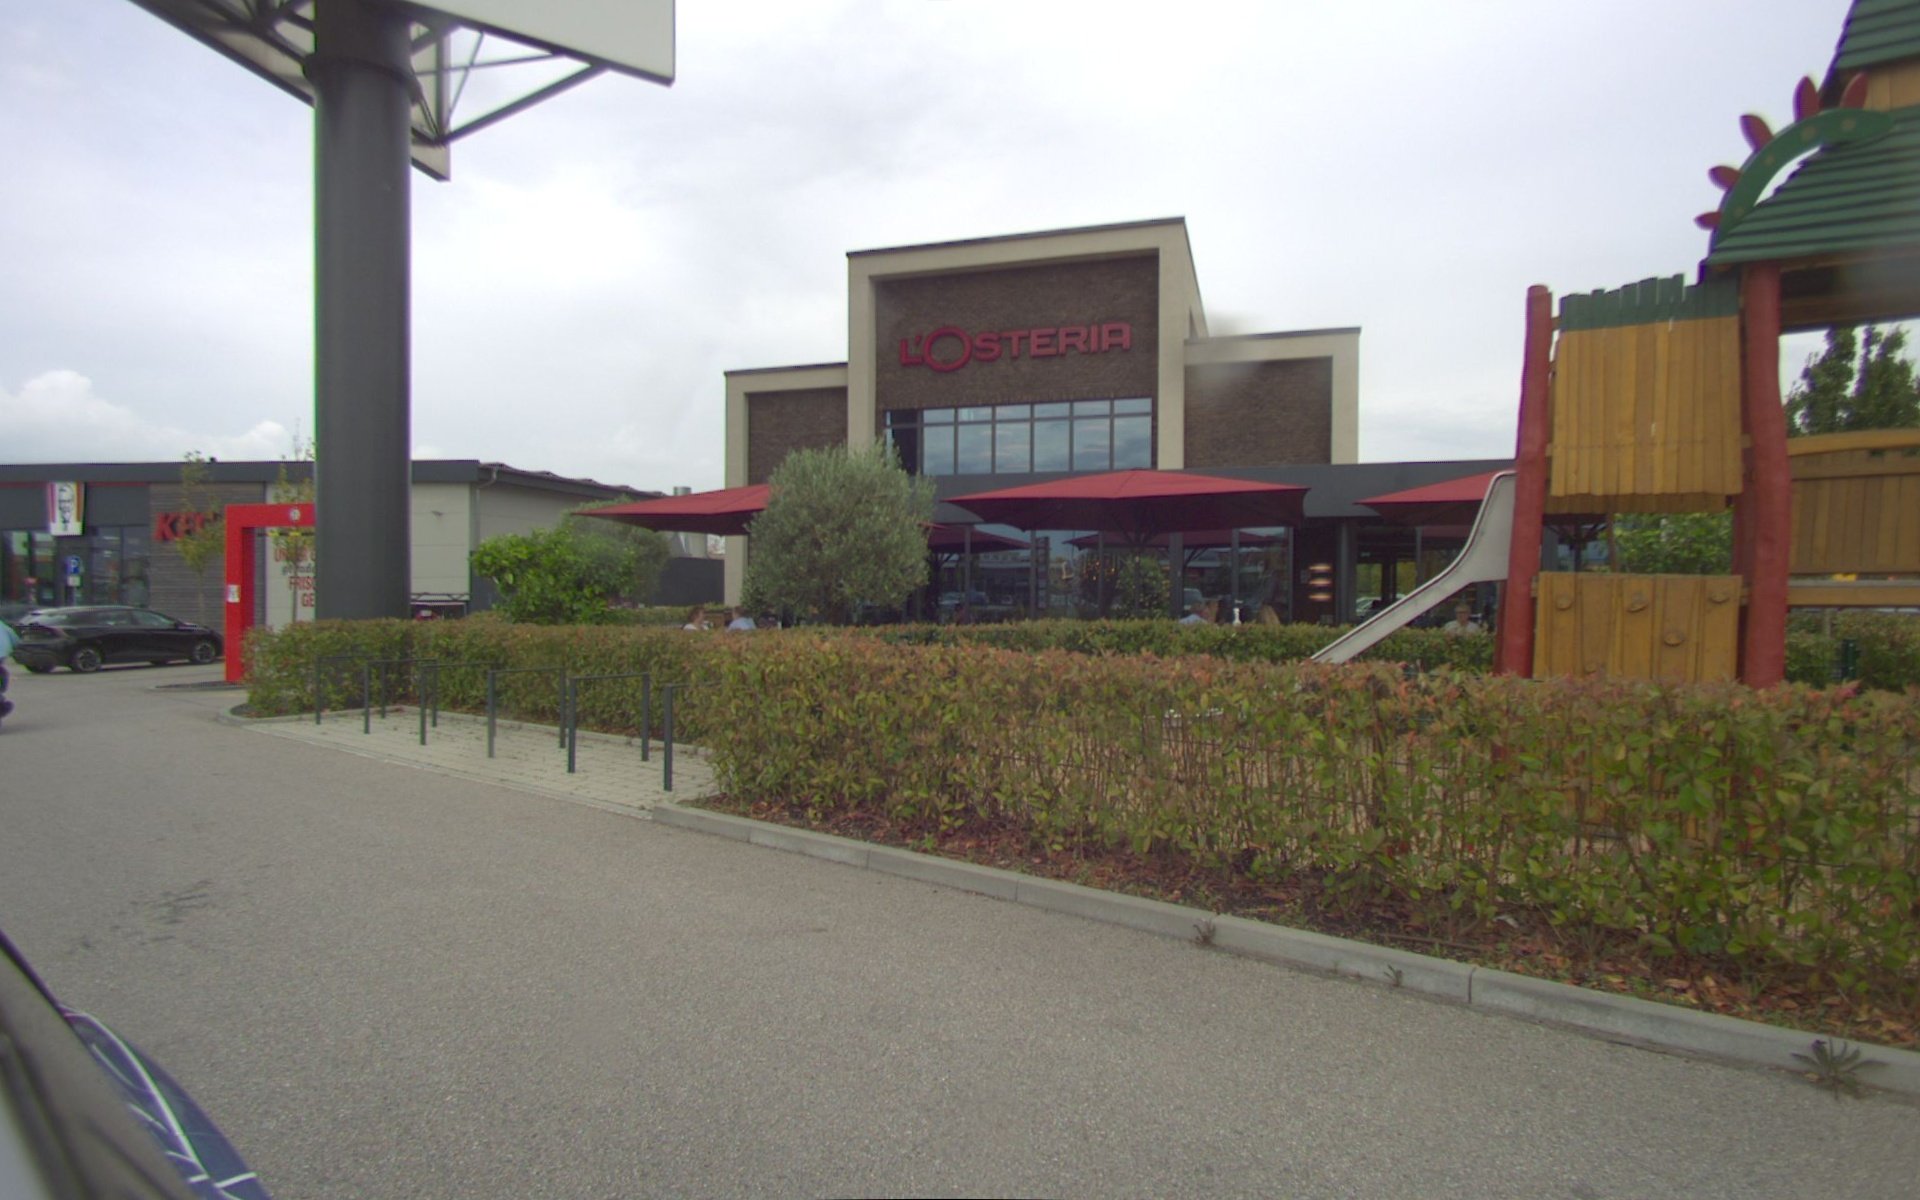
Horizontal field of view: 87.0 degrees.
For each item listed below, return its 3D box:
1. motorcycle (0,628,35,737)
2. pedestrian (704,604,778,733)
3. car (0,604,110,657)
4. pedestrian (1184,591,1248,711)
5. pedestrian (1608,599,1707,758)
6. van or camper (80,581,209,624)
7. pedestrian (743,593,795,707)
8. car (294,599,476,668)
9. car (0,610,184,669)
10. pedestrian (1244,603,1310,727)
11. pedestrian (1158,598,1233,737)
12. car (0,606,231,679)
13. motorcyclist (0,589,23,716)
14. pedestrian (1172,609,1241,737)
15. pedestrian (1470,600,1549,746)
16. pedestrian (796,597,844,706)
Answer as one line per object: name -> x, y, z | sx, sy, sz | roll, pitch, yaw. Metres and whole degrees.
motorcycle -> -11.769, 0.961, 12.006 | 1.917, 1.217, 0.785 | -1, 1, 36
pedestrian -> -3.095, 0.949, 14.321 | 0.741, 1.761, 0.695 | -1, -2, 36
car -> -28.930, 0.939, 31.149 | 1.744, 1.498, 3.917 | -1, 1, 18
pedestrian -> 3.914, 0.767, 15.450 | 0.703, 1.761, 0.732 | -1, -2, 41
pedestrian -> 7.999, 0.877, 11.633 | 0.697, 1.761, 0.739 | 0, -2, 14
van or camper -> -55.125, 0.145, 68.599 | 6.460, 2.721, 2.179 | -1, -1, -25
pedestrian -> -3.051, 0.793, 16.213 | 0.693, 1.761, 0.743 | 1, -2, -2
car -> -14.558, 0.786, 25.871 | 1.722, 1.608, 3.977 | 0, 0, 17
car -> -24.554, 1.043, 28.325 | 1.984, 1.497, 4.155 | -1, -1, 18
pedestrian -> 4.672, 0.943, 14.907 | 0.703, 1.761, 0.732 | -1, -2, 41
pedestrian -> 3.103, 0.866, 13.333 | 0.703, 1.761, 0.732 | -1, -2, 41
car -> -20.334, 0.943, 24.547 | 1.727, 1.540, 4.100 | 0, 1, 17
motorcyclist -> -11.809, 0.632, 12.006 | 0.939, 1.500, 0.821 | -1, 1, 35
pedestrian -> 3.512, 1.016, 14.403 | 0.703, 1.761, 0.732 | -1, -2, 41
pedestrian -> 6.887, 0.896, 12.719 | 0.697, 1.761, 0.739 | 0, -2, 14
pedestrian -> -2.305, 0.848, 16.773 | 0.693, 1.761, 0.743 | 1, -2, -2
